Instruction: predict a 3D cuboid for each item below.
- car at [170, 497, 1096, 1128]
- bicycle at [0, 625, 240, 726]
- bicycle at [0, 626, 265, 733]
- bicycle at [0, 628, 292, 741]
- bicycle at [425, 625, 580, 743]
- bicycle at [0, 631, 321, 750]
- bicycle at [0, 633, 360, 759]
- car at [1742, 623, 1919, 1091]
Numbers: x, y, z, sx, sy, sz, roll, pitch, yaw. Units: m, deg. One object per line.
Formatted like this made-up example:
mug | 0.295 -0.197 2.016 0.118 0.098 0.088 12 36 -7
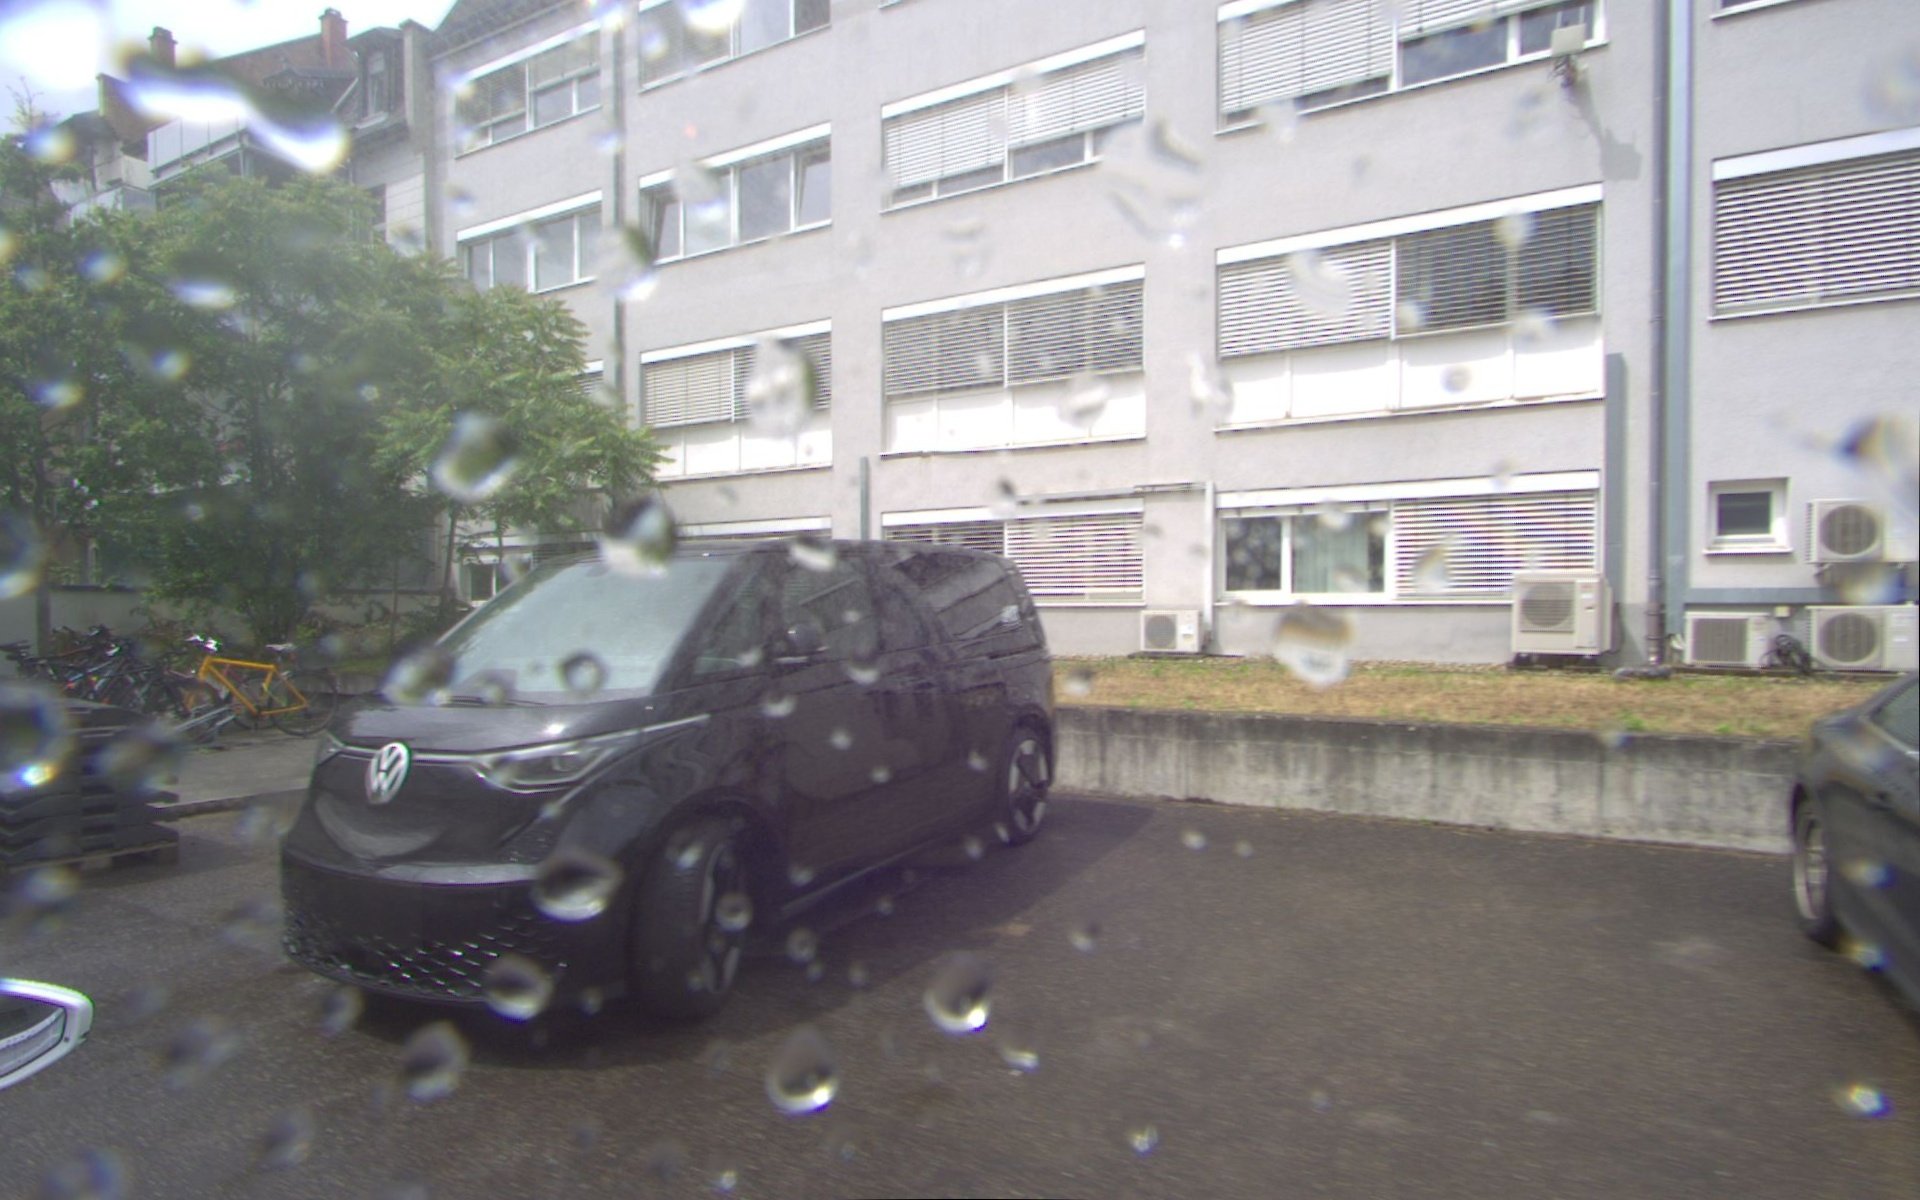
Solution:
car | -1.056 0.588 5.505 2.078 1.858 4.704 0 1 28
bicycle | -10.304 0.852 11.856 0.679 1.092 2.839 1 -1 32
bicycle | -9.717 0.863 11.480 0.679 1.092 2.839 1 -1 32
bicycle | -9.125 0.874 11.098 0.679 1.092 2.839 1 -1 32
bicycle | -4.944 0.863 10.799 1.696 1.174 0.613 0 1 28
bicycle | -8.530 0.885 10.706 0.679 1.092 2.839 1 -1 32
bicycle | -7.872 0.897 10.308 0.679 1.092 2.919 1 -1 32
car | 3.870 0.826 2.845 1.831 1.367 4.349 1 1 28
